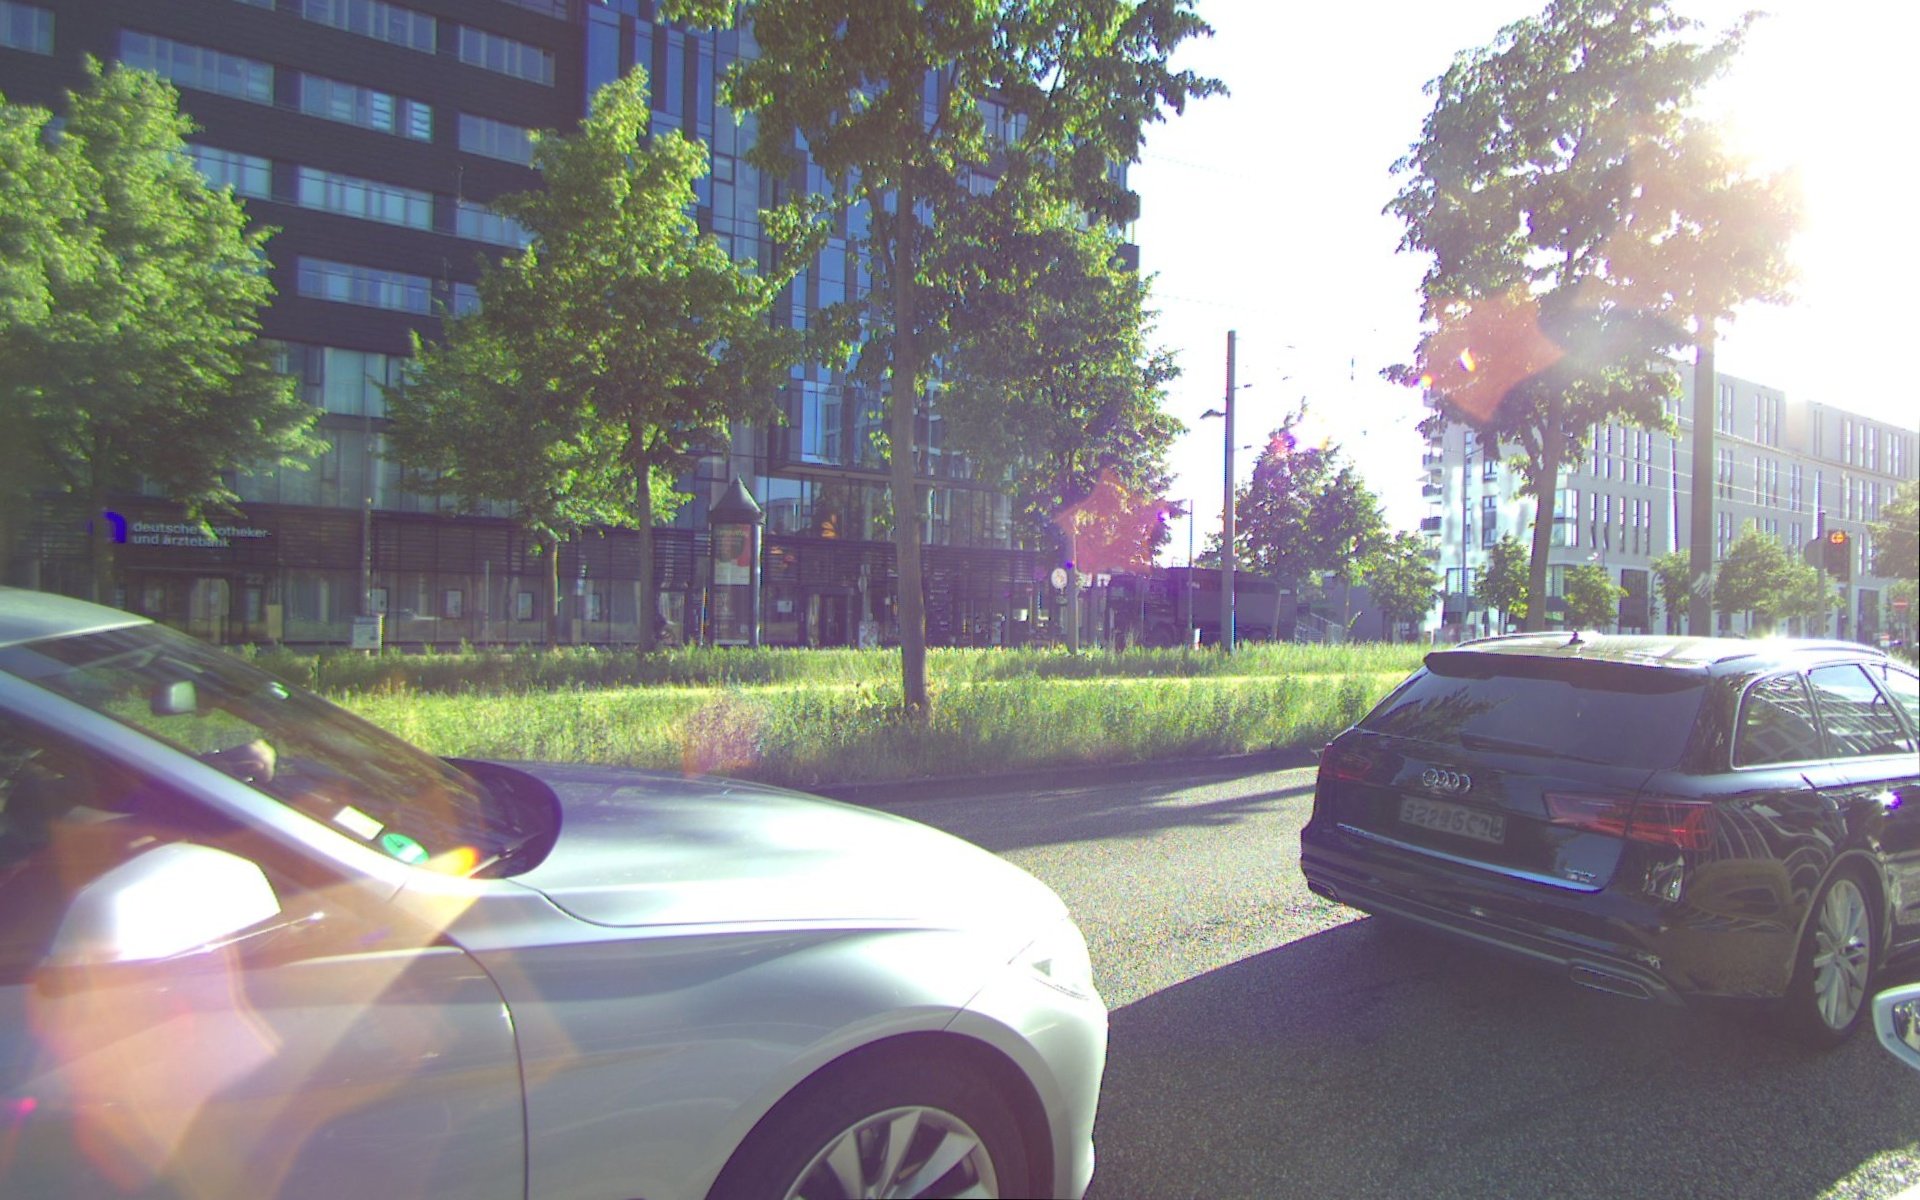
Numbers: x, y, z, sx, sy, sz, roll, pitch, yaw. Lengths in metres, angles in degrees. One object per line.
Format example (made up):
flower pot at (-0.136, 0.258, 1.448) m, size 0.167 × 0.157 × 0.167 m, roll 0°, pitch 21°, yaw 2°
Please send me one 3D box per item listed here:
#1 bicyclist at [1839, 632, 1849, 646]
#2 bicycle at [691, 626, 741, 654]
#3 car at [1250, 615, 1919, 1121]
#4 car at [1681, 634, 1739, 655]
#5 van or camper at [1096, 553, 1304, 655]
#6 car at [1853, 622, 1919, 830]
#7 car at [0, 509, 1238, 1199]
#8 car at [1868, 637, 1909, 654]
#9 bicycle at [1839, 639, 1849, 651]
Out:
bicyclist at (84.141, 3.686, 95.584) m, size 0.700 × 1.310 × 0.573 m, roll 2°, pitch 0°, yaw -42°
bicycle at (-9.691, 1.597, 39.908) m, size 1.826 × 1.047 × 0.525 m, roll 2°, pitch 0°, yaw -30°
car at (3.679, 0.860, 4.886) m, size 4.455 × 1.476 × 1.799 m, roll 2°, pitch -1°, yaw -31°
car at (51.174, 3.028, 68.518) m, size 4.420 × 1.360 × 1.572 m, roll 2°, pitch -1°, yaw -31°
van or camper at (11.128, 0.306, 46.015) m, size 10.109 × 4.248 × 2.740 m, roll 2°, pitch -1°, yaw -30°
car at (9.177, 0.997, 8.104) m, size 4.065 × 1.548 × 1.799 m, roll 2°, pitch -1°, yaw -30°
car at (-1.865, 0.645, 1.709) m, size 4.689 × 1.508 × 1.799 m, roll 2°, pitch -1°, yaw -31°
car at (78.840, 3.878, 85.306) m, size 3.669 × 1.360 × 1.572 m, roll 2°, pitch -1°, yaw -31°
bicycle at (84.134, 4.301, 95.590) m, size 1.626 × 1.125 × 0.523 m, roll 2°, pitch -1°, yaw -43°
